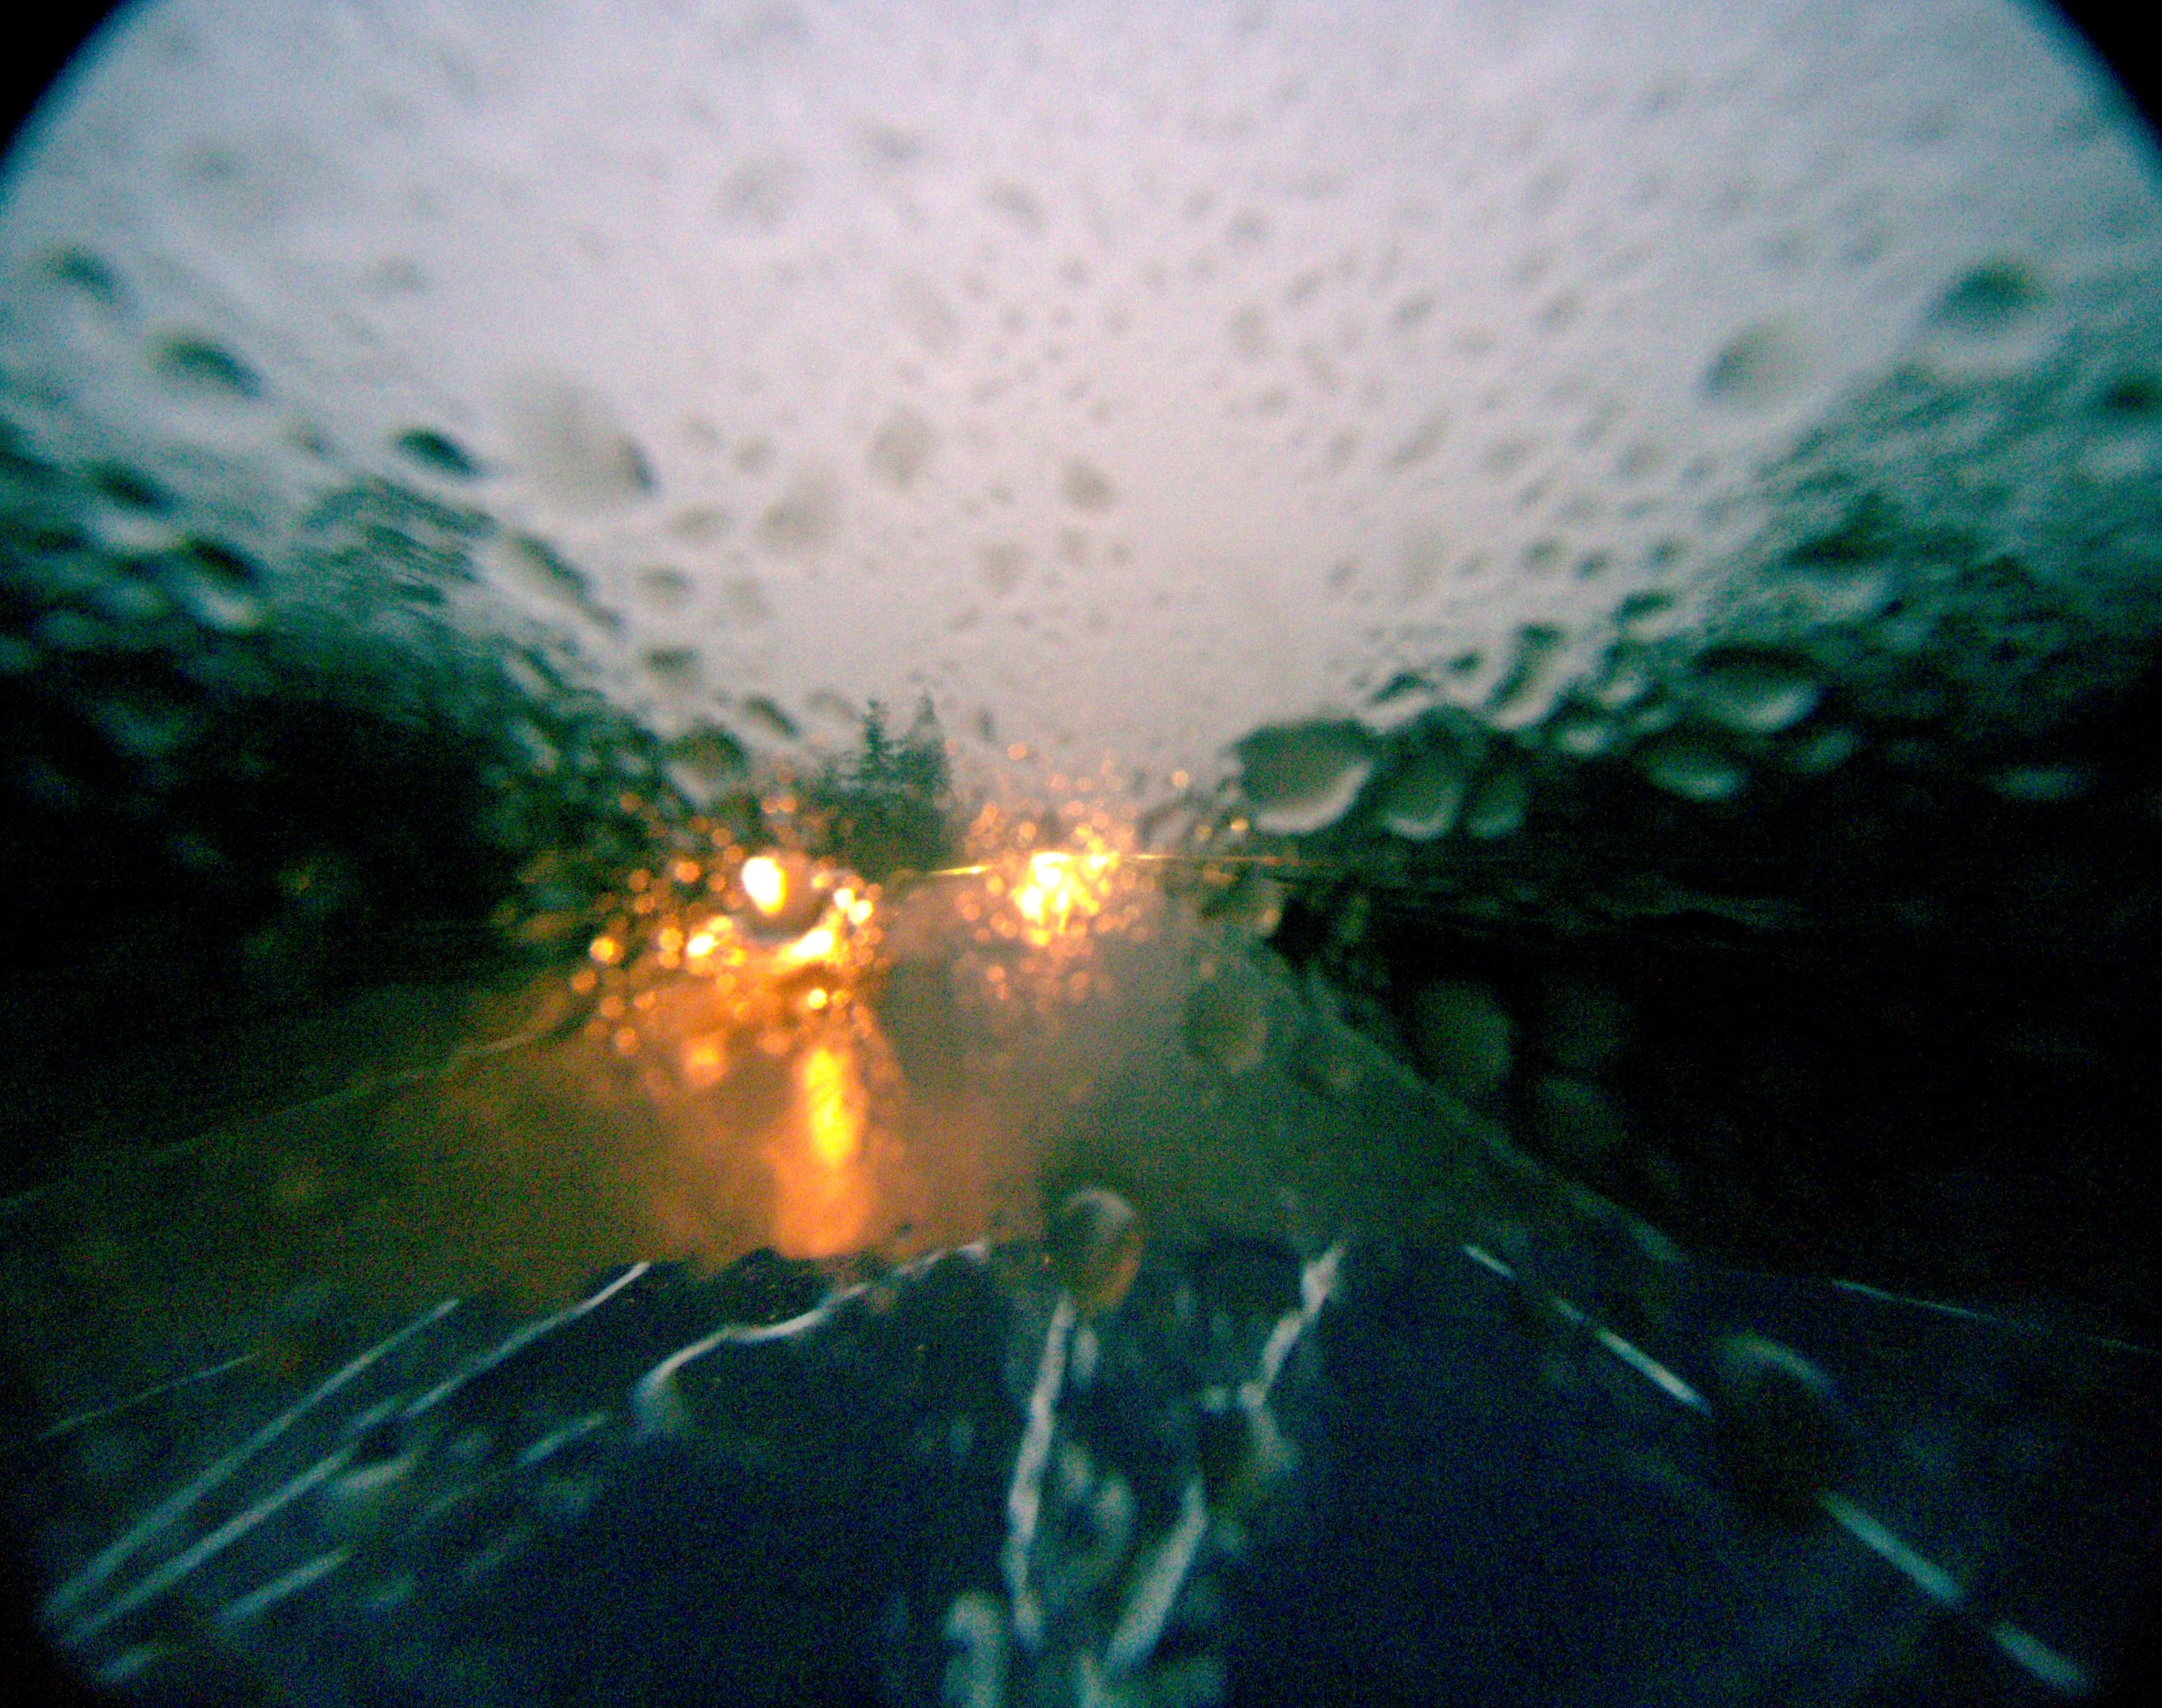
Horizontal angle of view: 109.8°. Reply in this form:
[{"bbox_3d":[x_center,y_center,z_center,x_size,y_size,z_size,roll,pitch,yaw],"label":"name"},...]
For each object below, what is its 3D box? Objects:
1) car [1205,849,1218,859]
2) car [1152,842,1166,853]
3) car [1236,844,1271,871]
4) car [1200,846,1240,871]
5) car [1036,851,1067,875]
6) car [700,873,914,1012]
[{"bbox_3d":[20.001,-0.006,116.494,1.531,1.408,3.753,-2,1,5],"label":"car"},{"bbox_3d":[11.506,-0.983,112.373,1.683,1.569,4.422,-2,1,2],"label":"car"},{"bbox_3d":[12.783,0.266,56.456,1.682,1.871,4.000,-1,0,0],"label":"car"},{"bbox_3d":[9.073,0.288,49.914,1.838,1.540,4.529,-2,0,1],"label":"car"},{"bbox_3d":[-1.940,0.587,50.499,1.741,1.441,4.000,-2,1,1],"label":"car"},{"bbox_3d":[-3.373,1.017,10.004,1.603,1.358,3.304,-2,1,-1],"label":"car"}]
